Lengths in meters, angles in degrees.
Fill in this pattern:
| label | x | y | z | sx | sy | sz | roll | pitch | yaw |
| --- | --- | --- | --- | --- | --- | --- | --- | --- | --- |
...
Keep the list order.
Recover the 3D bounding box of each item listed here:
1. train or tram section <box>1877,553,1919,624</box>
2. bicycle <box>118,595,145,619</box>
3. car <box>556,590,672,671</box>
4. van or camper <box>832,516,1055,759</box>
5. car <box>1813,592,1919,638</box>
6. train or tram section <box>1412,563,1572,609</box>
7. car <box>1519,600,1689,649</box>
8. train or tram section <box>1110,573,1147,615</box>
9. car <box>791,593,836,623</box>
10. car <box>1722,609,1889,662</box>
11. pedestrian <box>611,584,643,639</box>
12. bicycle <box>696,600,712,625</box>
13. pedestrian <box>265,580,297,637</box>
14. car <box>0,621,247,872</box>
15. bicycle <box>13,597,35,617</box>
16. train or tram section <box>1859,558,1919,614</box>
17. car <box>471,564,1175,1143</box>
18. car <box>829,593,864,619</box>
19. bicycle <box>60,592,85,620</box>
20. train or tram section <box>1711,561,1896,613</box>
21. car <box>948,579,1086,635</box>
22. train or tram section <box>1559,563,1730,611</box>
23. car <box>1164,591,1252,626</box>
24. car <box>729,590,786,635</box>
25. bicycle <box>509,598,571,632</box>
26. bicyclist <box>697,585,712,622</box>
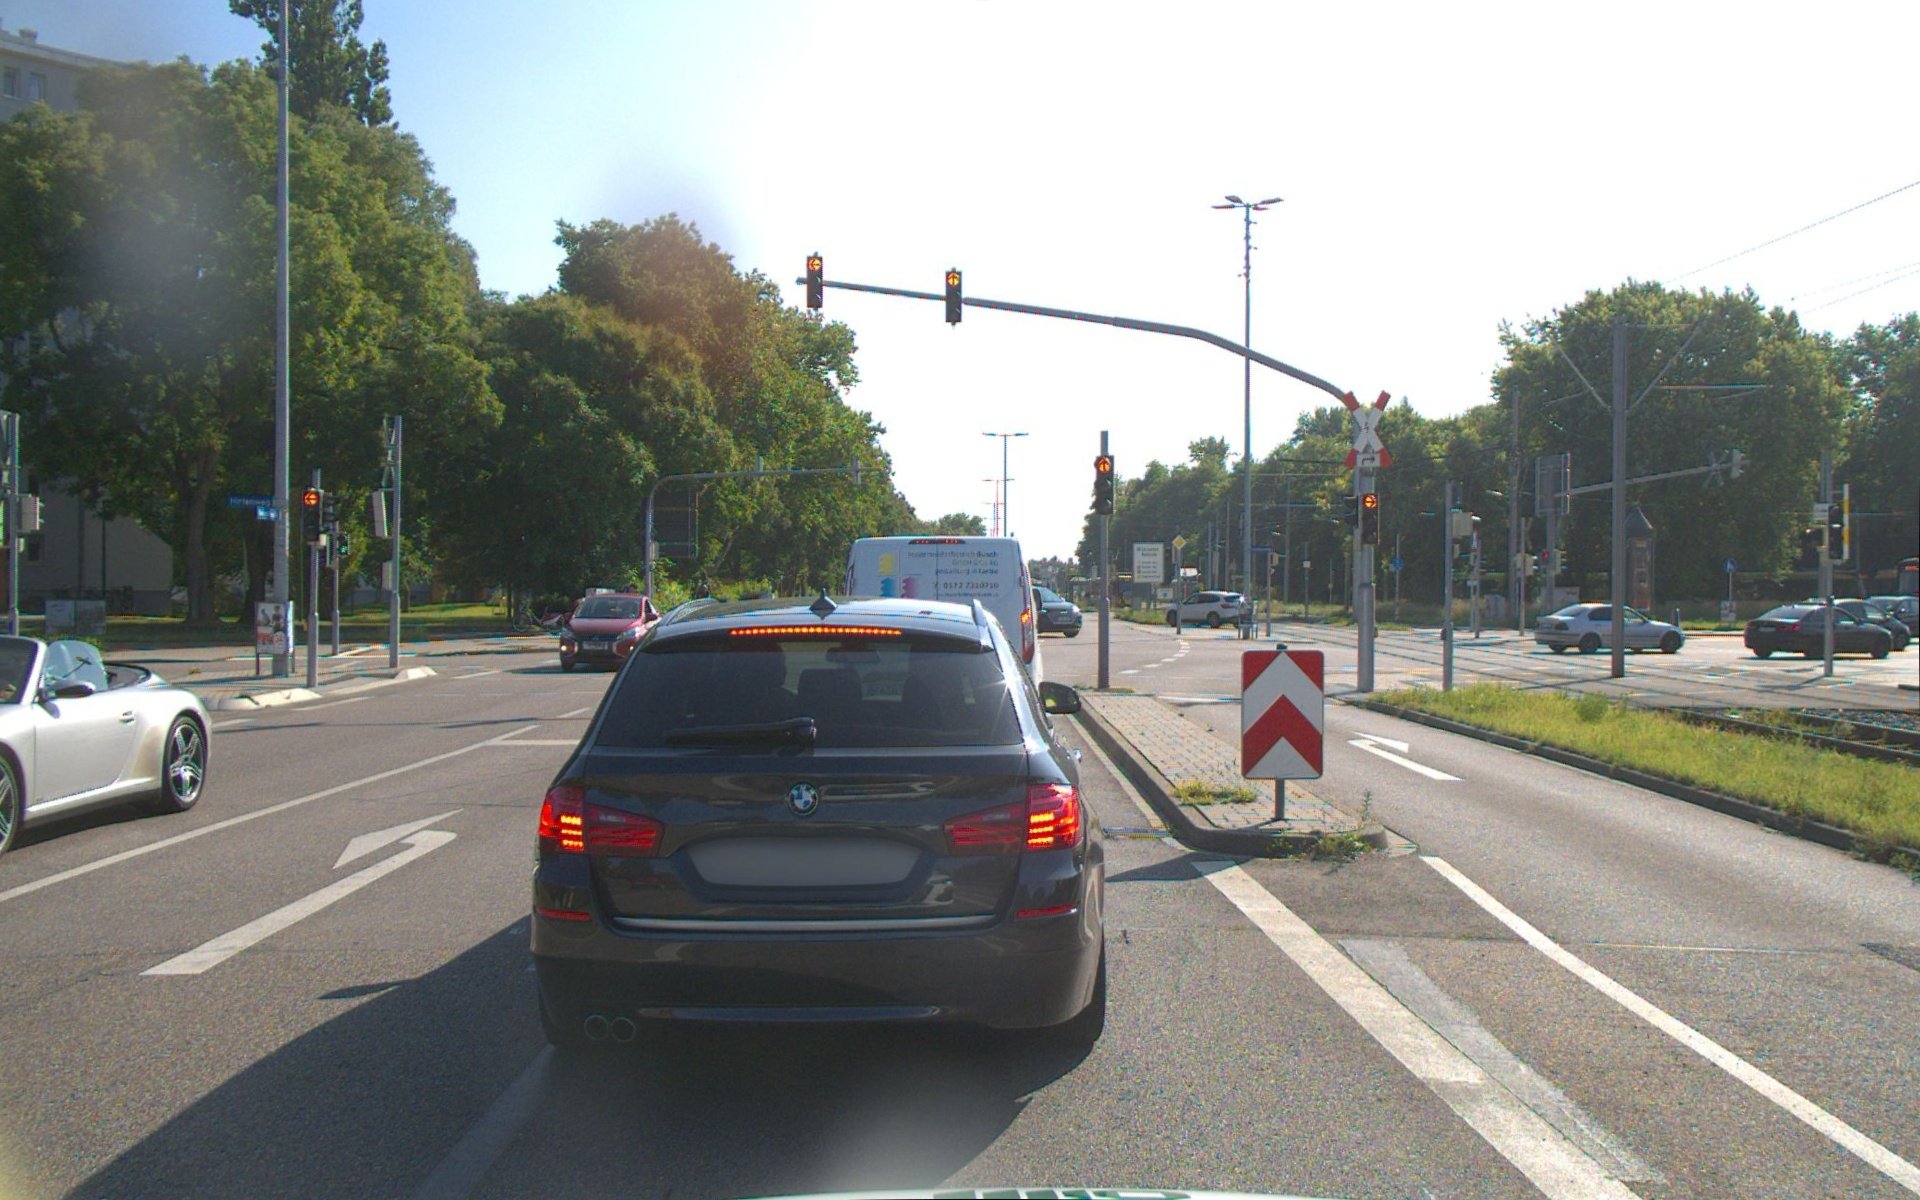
| label | x | y | z | sx | sy | sz | roll | pitch | yaw |
| --- | --- | --- | --- | --- | --- | --- | --- | --- | --- |
| train or tram section | 53.068 | -0.600 | 87.884 | 11.721 | 3.642 | 3.015 | 0 | 0 | -37 |
| bicycle | -33.477 | 0.269 | 66.803 | 0.663 | 0.936 | 2.377 | 0 | 0 | -35 |
| car | -6.953 | 0.577 | 33.570 | 1.660 | 1.524 | 3.675 | -1 | 0 | -2 |
| van or camper | -0.114 | 0.314 | 16.819 | 1.952 | 2.133 | 4.599 | 0 | 0 | 1 |
| car | 32.829 | 0.513 | 58.940 | 4.792 | 1.590 | 2.025 | 0 | 0 | -29 |
| train or tram section | 43.514 | -1.119 | 135.481 | 12.170 | 3.642 | 3.048 | 0 | 0 | 31 |
| car | 18.797 | 0.692 | 48.313 | 4.321 | 1.377 | 1.992 | 0 | 0 | -15 |
| train or tram section | 15.698 | -0.482 | 154.714 | 2.738 | 3.681 | 12.960 | 1 | 0 | 3 |
| car | -7.290 | 0.376 | 82.522 | 1.742 | 1.439 | 4.245 | 0 | 0 | 1 |
| car | 23.386 | 0.951 | 45.731 | 4.342 | 1.378 | 1.982 | 0 | 0 | -28 |
| pedestrian | -10.926 | 0.375 | 54.311 | 0.798 | 1.782 | 0.932 | 0 | 0 | 5 |
| bicycle | -11.099 | 0.538 | 71.862 | 0.608 | 1.058 | 2.069 | 0 | 0 | -7 |
| pedestrian | -21.009 | 0.267 | 51.149 | 0.610 | 1.743 | 0.705 | 0 | 1 | 11 |
| car | -6.193 | 0.836 | 10.197 | 1.743 | 1.333 | 4.286 | 0 | 0 | 0 |
| bicycle | -36.608 | 0.267 | 64.685 | 0.578 | 0.721 | 2.211 | 0 | 1 | -35 |
| train or tram section | 63.737 | -0.914 | 108.481 | 2.981 | 3.642 | 12.231 | 0 | 0 | 0 |
| car | -0.382 | 0.662 | 6.424 | 1.864 | 1.532 | 4.064 | 0 | 0 | -1 |
| car | -7.035 | 0.354 | 102.930 | 1.667 | 1.490 | 4.371 | -1 | 0 | 3 |
| bicycle | -35.229 | 0.248 | 65.631 | 0.606 | 1.085 | 1.892 | 1 | -2 | -37 |
| train or tram section | 60.920 | -0.937 | 119.881 | 3.017 | 3.642 | 12.087 | 0 | 0 | -34 |
| car | 1.810 | 0.234 | 53.916 | 4.540 | 1.753 | 1.639 | 0 | 0 | 42 |
| train or tram section | 53.276 | -1.024 | 128.971 | 11.984 | 3.642 | 3.043 | 0 | 0 | 36 |
| car | 11.234 | 0.364 | 75.161 | 1.780 | 1.512 | 3.848 | 0 | 0 | -37 |
| car | -7.413 | 0.438 | 60.809 | 1.599 | 1.587 | 3.676 | -2 | 0 | 0 |
| bicycle | -13.813 | 0.491 | 54.428 | 1.870 | 1.138 | 0.632 | 0 | 0 | -1 |
| bicyclist | -11.108 | 0.150 | 71.915 | 0.596 | 1.587 | 0.602 | 1 | 0 | -7 |
